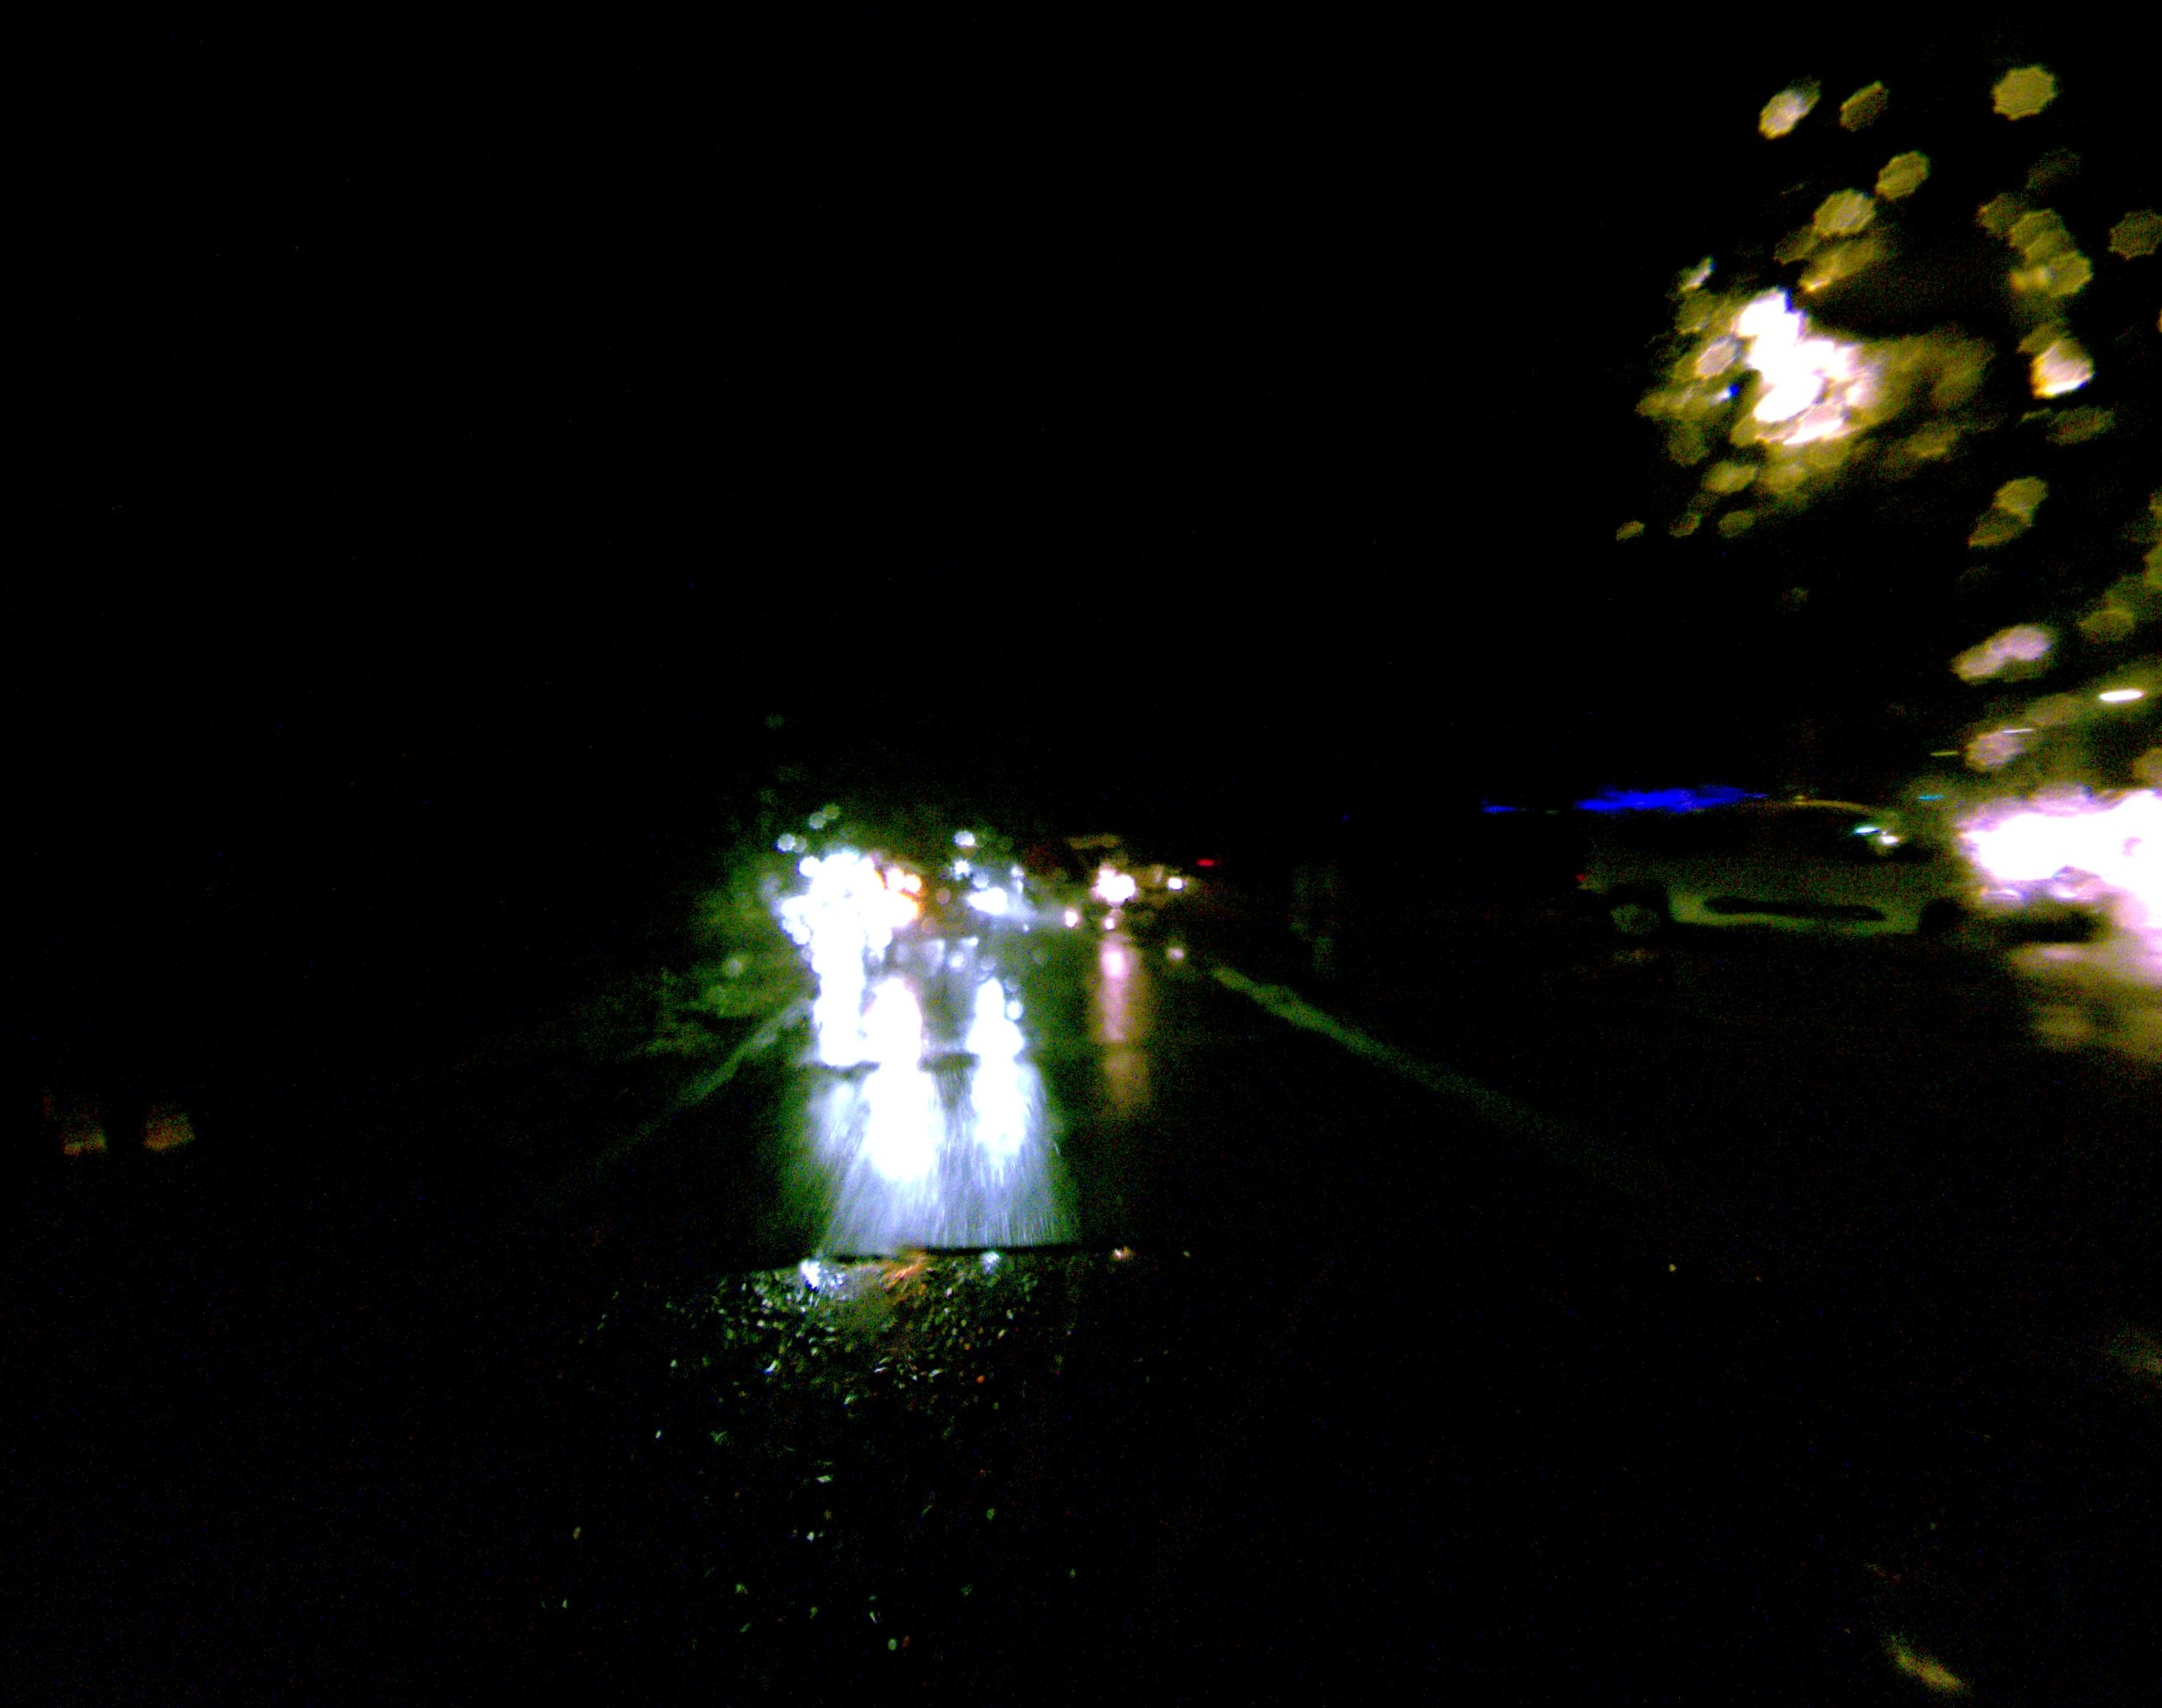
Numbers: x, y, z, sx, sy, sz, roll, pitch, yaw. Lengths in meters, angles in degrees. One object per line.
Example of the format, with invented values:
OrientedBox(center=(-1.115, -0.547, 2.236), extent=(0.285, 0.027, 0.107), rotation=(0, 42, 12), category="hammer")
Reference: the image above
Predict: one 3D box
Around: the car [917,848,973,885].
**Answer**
OrientedBox(center=(-6.787, 0.588, 37.579), extent=(1.851, 1.696, 4.121), rotation=(-2, 1, -22), category="car")

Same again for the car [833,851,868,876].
OrientedBox(center=(-15.099, 0.578, 49.604), extent=(1.683, 1.437, 4.166), rotation=(-4, 2, -23), category="car")

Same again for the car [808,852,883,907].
OrientedBox(center=(-7.797, 0.793, 24.901), extent=(1.690, 1.524, 3.980), rotation=(-5, 1, -25), category="car")

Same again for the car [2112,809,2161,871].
OrientedBox(center=(32.364, -0.482, 22.205), extent=(1.953, 1.624, 4.266), rotation=(-1, 3, 44), category="car")

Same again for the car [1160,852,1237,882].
OrientedBox(center=(6.252, 0.696, 40.771), extent=(1.731, 1.406, 4.018), rotation=(-5, 2, -35), category="car")

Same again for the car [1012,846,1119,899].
OrientedBox(center=(-0.615, 0.569, 25.027), extent=(1.792, 1.586, 4.228), rotation=(1, 0, -28), category="car")

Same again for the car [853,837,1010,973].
OrientedBox(center=(-2.837, 0.698, 13.530), extent=(2.006, 1.915, 4.360), rotation=(-3, 2, -20), category="car")

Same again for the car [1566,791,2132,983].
OrientedBox(center=(9.166, 0.330, 9.553), extent=(2.003, 1.782, 4.710), rotation=(-3, 0, -36), category="car")

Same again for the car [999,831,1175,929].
OrientedBox(center=(-0.034, 0.469, 16.972), extent=(1.785, 1.821, 4.546), rotation=(-4, 3, -30), category="car")
